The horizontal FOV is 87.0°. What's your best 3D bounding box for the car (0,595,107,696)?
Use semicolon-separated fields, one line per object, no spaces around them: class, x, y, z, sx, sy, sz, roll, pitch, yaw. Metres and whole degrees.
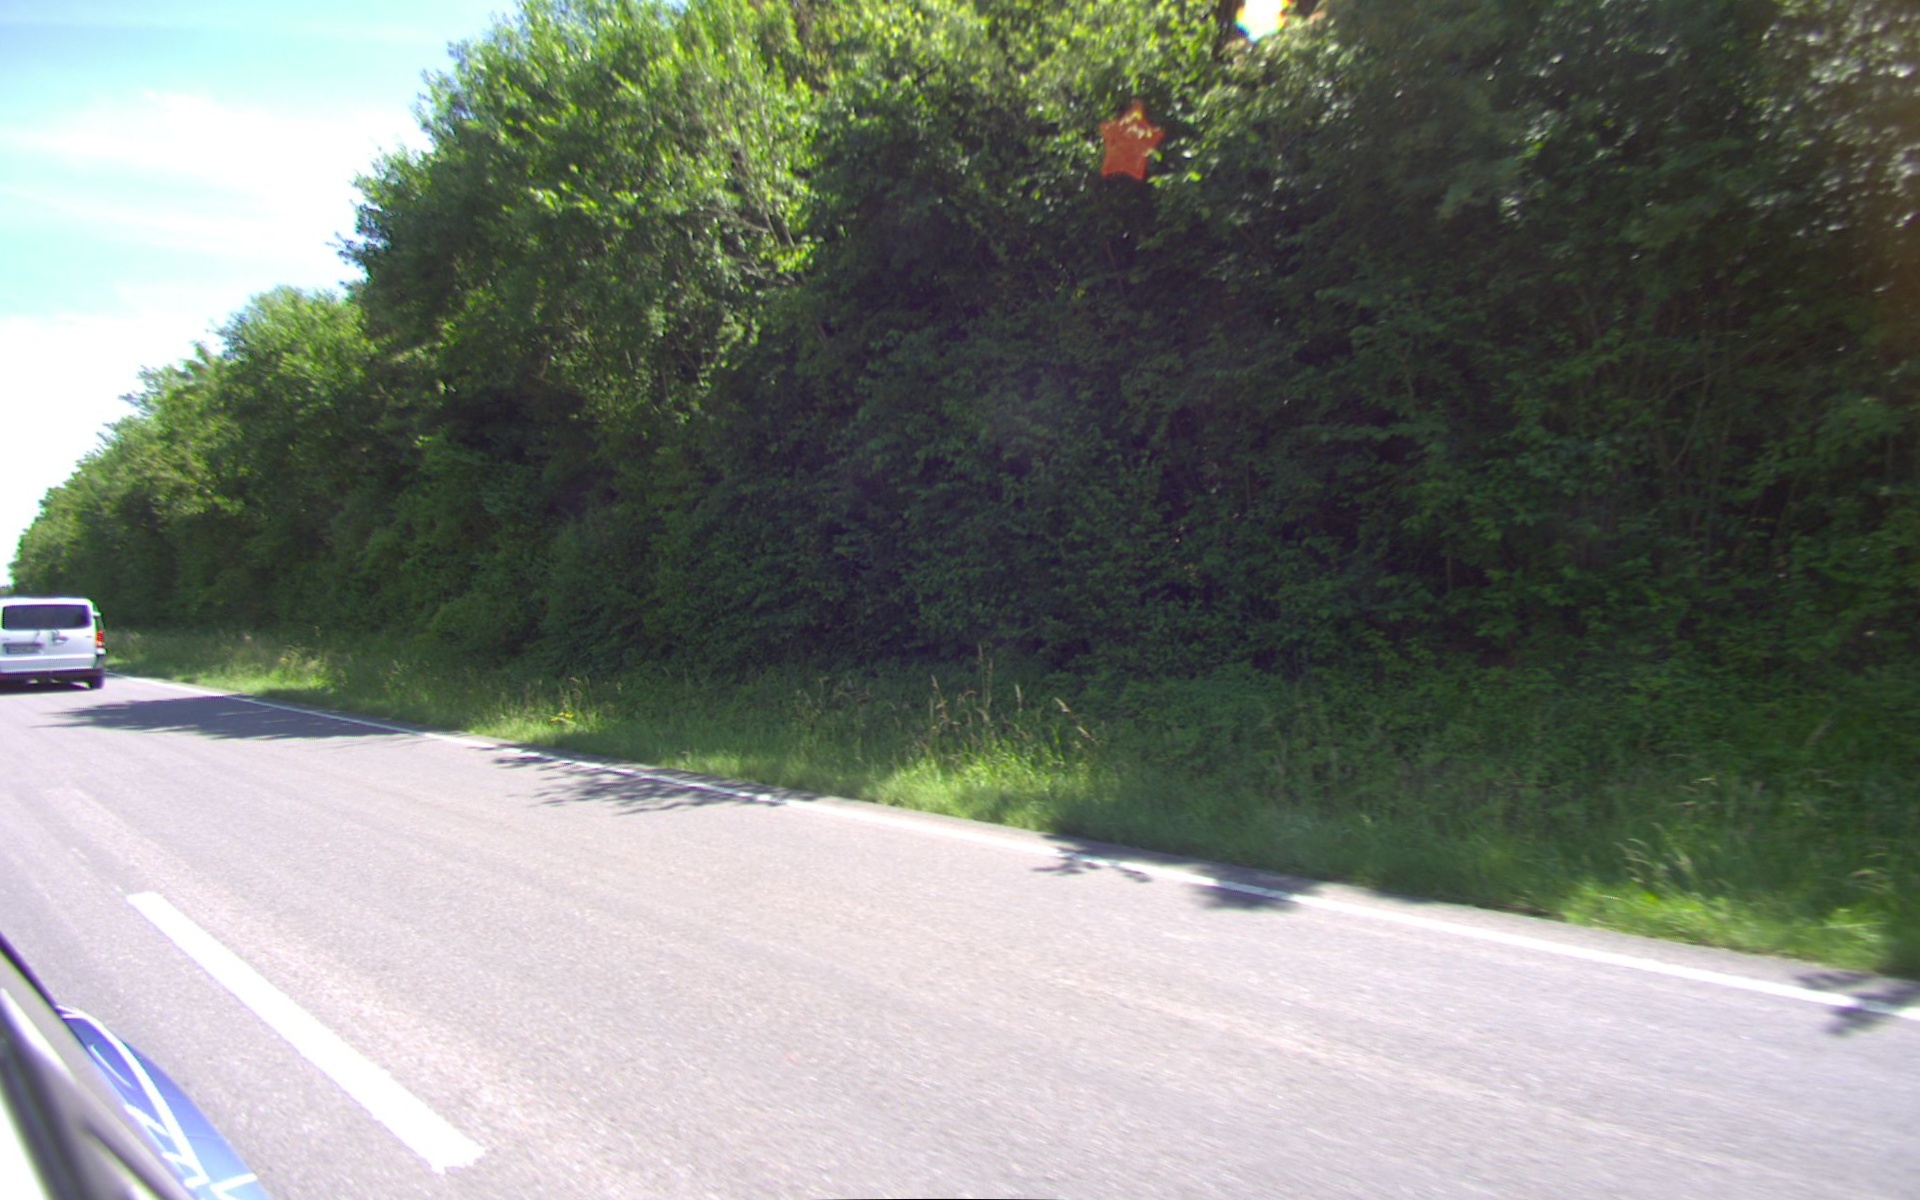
car;-19.808;0.907;21.443;5.325;1.920;1.911;-1;-1;42
